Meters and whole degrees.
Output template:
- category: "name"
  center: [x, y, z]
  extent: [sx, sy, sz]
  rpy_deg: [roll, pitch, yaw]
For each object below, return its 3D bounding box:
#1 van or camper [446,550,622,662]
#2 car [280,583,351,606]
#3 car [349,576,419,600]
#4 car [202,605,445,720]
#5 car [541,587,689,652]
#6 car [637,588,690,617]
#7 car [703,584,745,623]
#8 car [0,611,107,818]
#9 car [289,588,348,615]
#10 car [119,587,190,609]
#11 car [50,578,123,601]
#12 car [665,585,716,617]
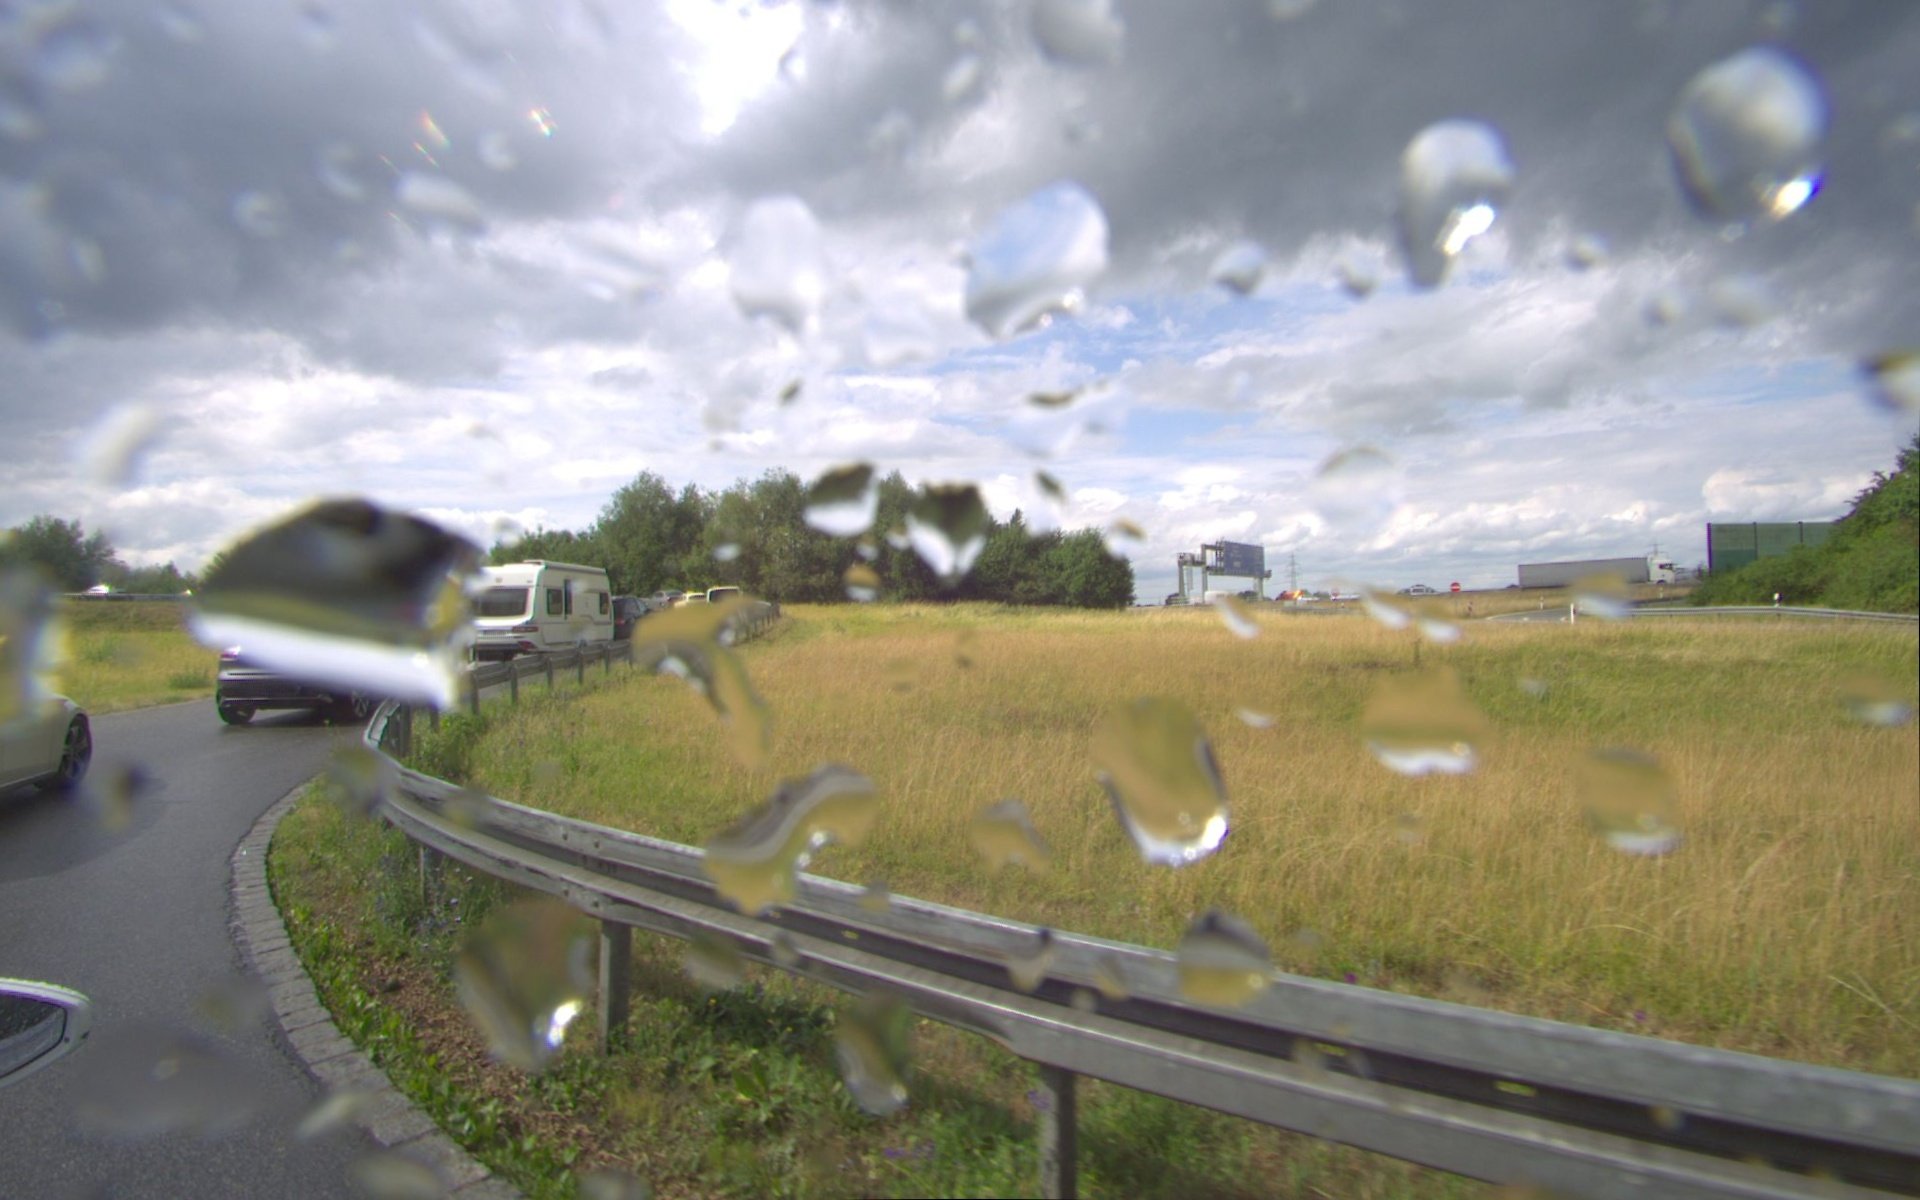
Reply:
- category: "van or camper"
  center: [-11.514, 0.176, 27.696]
  extent: [2.391, 2.765, 6.001]
  rpy_deg: [0, 0, -1]
- category: "car"
  center: [-57.267, -0.491, 88.970]
  extent: [4.959, 1.886, 2.000]
  rpy_deg: [-2, 0, 0]
- category: "car"
  center: [-50.521, -1.039, 87.887]
  extent: [4.959, 1.886, 2.000]
  rpy_deg: [-2, 0, 4]
- category: "car"
  center: [-9.690, 0.903, 15.638]
  extent: [1.691, 1.544, 3.999]
  rpy_deg: [-1, -1, -8]
- category: "car"
  center: [-11.256, 0.578, 33.271]
  extent: [2.389, 1.951, 5.758]
  rpy_deg: [0, 0, 7]
- category: "car"
  center: [-20.901, 0.226, 70.516]
  extent: [1.975, 1.885, 5.023]
  rpy_deg: [-1, -1, -36]
- category: "car"
  center: [-12.388, 0.210, 52.833]
  extent: [1.963, 1.885, 5.053]
  rpy_deg: [-2, -1, -12]
- category: "car"
  center: [-7.988, 0.847, 7.074]
  extent: [1.893, 1.527, 4.577]
  rpy_deg: [-1, 0, -26]
- category: "car"
  center: [-56.827, 0.151, 88.716]
  extent: [3.924, 2.038, 2.001]
  rpy_deg: [-5, -2, 6]
- category: "car"
  center: [-72.069, -0.177, 89.646]
  extent: [4.428, 1.886, 1.998]
  rpy_deg: [-2, 0, -14]
- category: "car"
  center: [-79.737, -0.937, 91.432]
  extent: [4.959, 1.886, 2.000]
  rpy_deg: [-2, 0, 2]
- category: "car"
  center: [-16.872, 0.108, 62.527]
  extent: [1.971, 1.885, 5.034]
  rpy_deg: [1, -1, -28]
